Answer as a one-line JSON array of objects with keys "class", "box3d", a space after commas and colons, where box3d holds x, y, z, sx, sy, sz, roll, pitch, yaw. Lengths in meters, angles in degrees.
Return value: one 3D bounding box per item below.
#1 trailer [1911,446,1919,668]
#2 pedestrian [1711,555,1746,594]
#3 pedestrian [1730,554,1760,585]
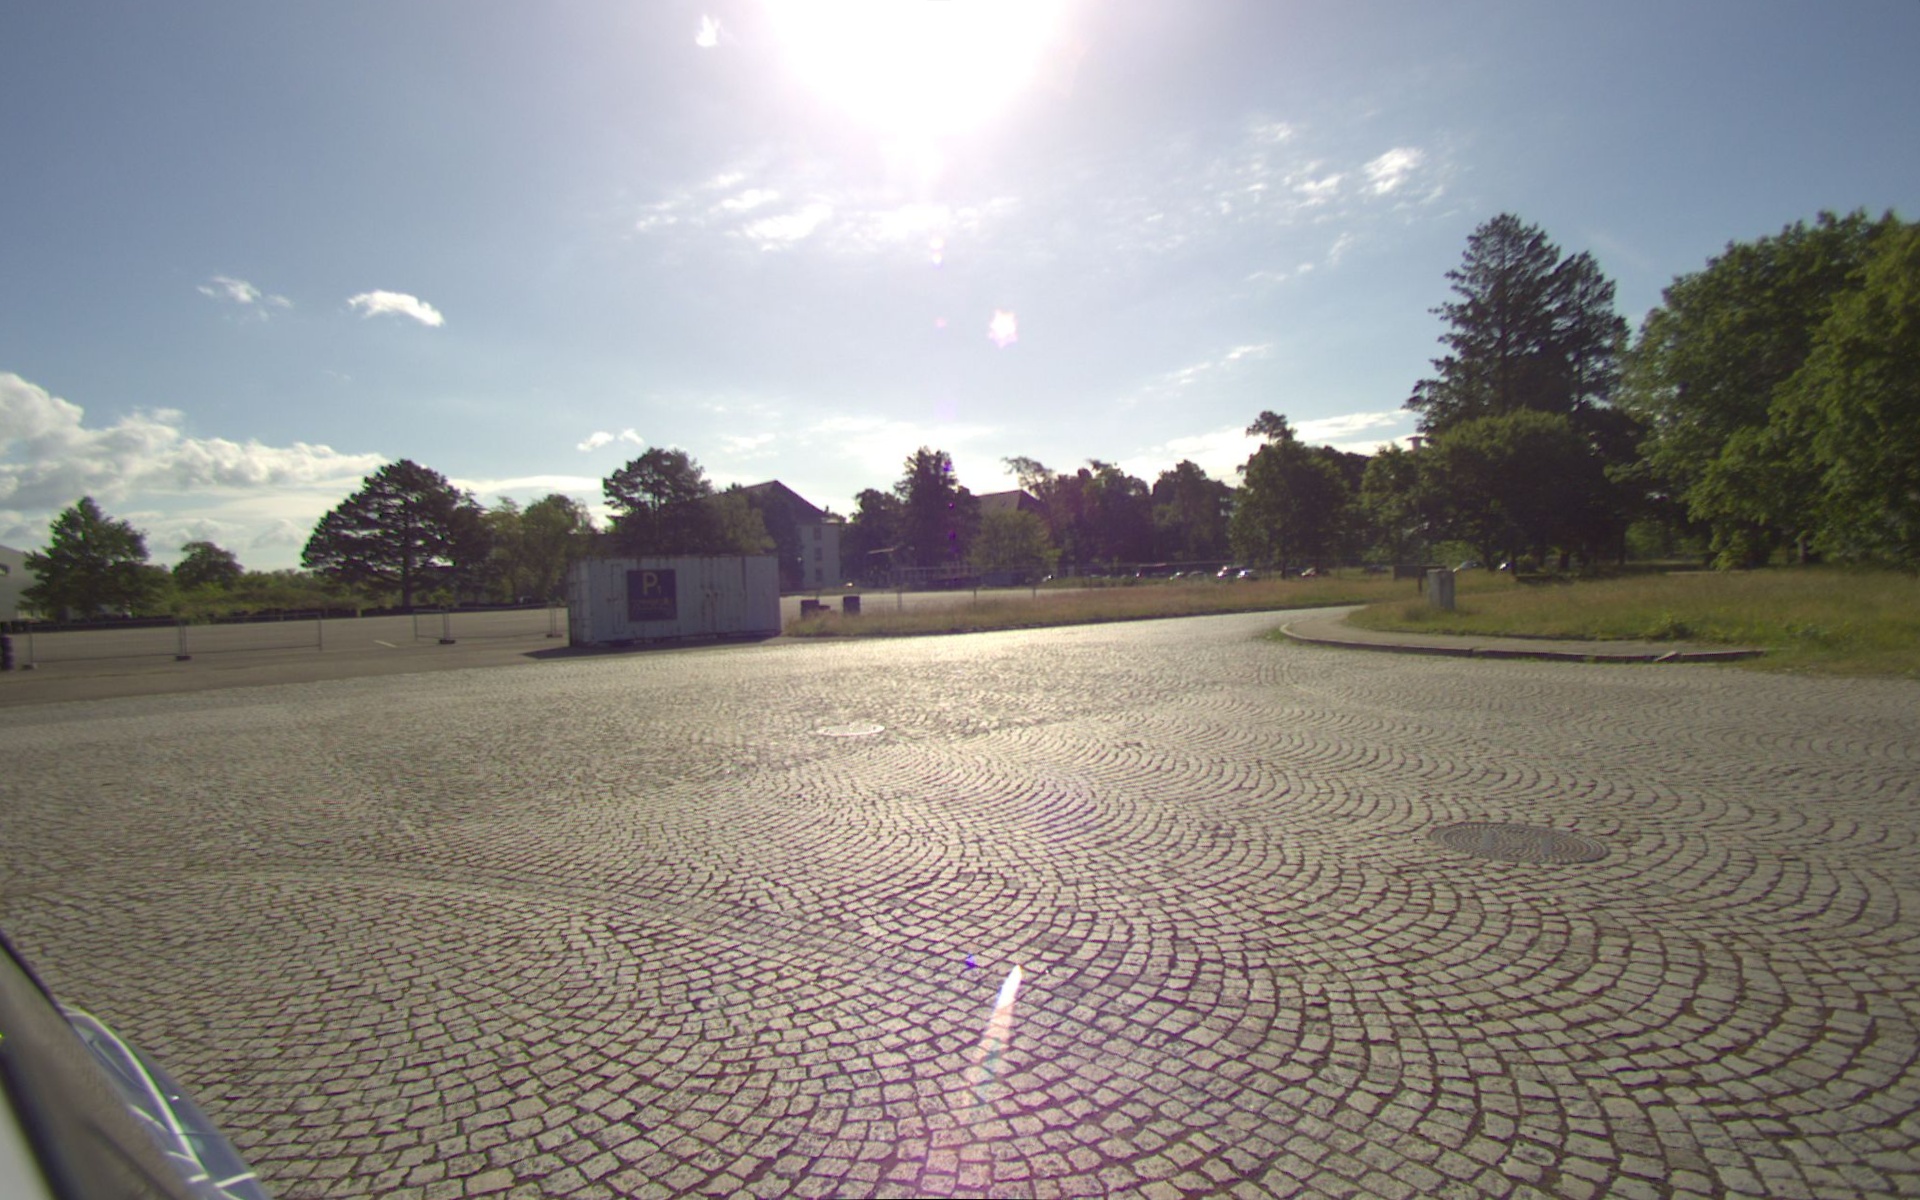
[{"class": "trailer", "box3d": [12.657, -0.572, 11.552, 3.341, 2.488, 2.049, -4, 2, -37]}, {"class": "pedestrian", "box3d": [40.133, -1.342, 52.829, 1.109, 1.943, 1.163, -4, 2, -36]}, {"class": "pedestrian", "box3d": [50.793, -1.990, 65.484, 1.302, 1.943, 1.163, -4, 2, -36]}]
